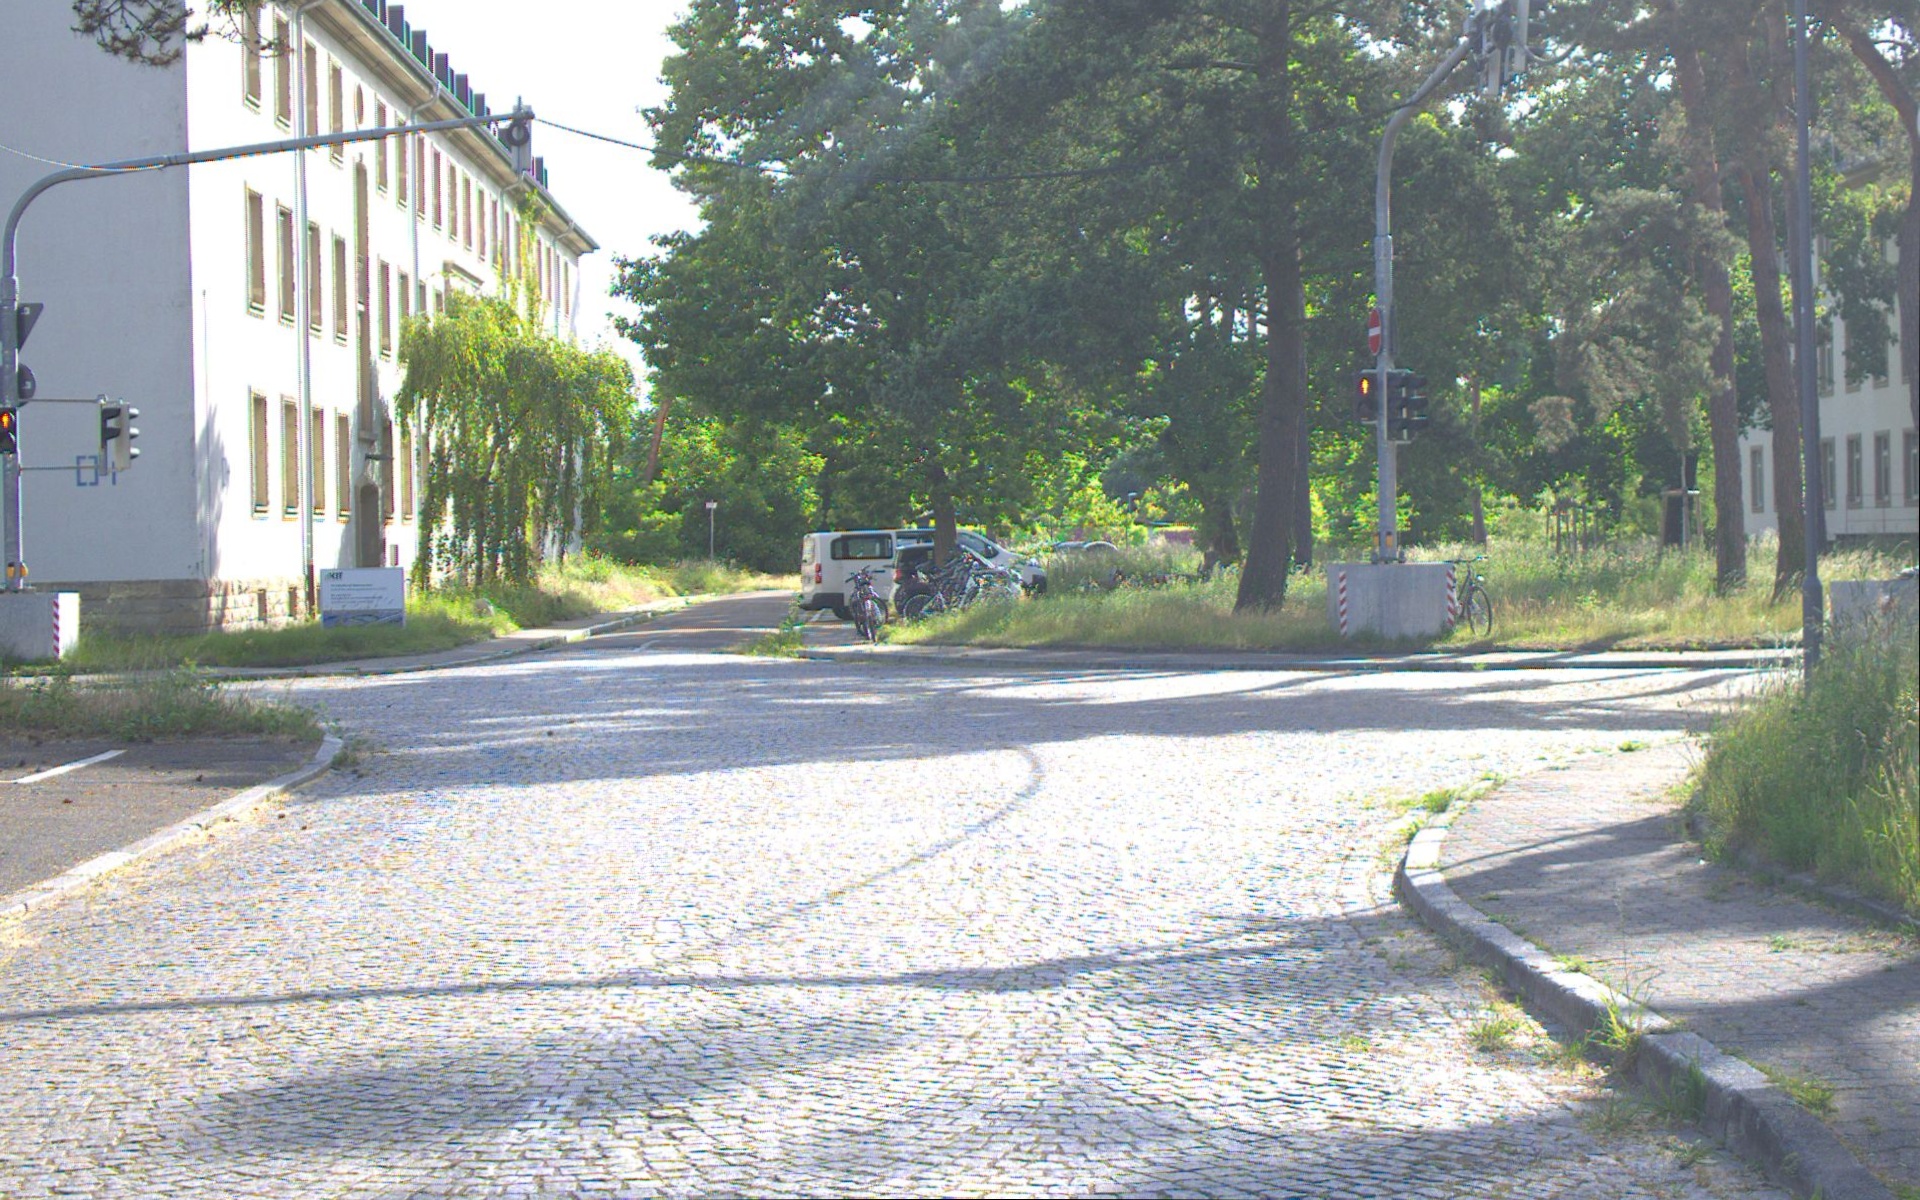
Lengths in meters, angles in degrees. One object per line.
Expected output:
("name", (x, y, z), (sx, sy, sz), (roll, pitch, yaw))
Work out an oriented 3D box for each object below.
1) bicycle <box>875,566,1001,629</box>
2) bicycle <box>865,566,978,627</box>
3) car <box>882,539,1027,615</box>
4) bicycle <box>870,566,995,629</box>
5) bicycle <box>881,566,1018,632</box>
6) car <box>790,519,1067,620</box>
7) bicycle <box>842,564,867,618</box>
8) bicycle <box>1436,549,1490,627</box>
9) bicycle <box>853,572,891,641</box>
("bicycle", (-0.372, -0.039, 57.050), (2.004, 1.007, 0.632), (1, 0, -8))
("bicycle", (-0.660, -0.059, 58.803), (1.837, 1.007, 0.636), (1, 0, -8))
("car", (-0.131, -0.477, 69.811), (2.781, 1.462, 1.671), (1, 0, -5))
("bicycle", (-0.465, -0.048, 57.932), (2.027, 1.007, 0.627), (1, 0, -8))
("bicycle", (-0.171, -0.022, 55.339), (2.108, 1.007, 0.621), (1, 0, -8))
("car", (-0.670, -0.643, 73.407), (5.520, 2.007, 2.001), (1, 0, -19))
("bicycle", (-1.984, -0.171, 64.975), (0.417, 1.007, 1.483), (1, 0, 0))
("bicycle", (6.328, -0.151, 43.301), (0.300, 0.957, 1.586), (1, 0, -5))
("bicycle", (-1.328, 0.095, 51.706), (0.467, 1.007, 1.586), (1, 0, -5))
